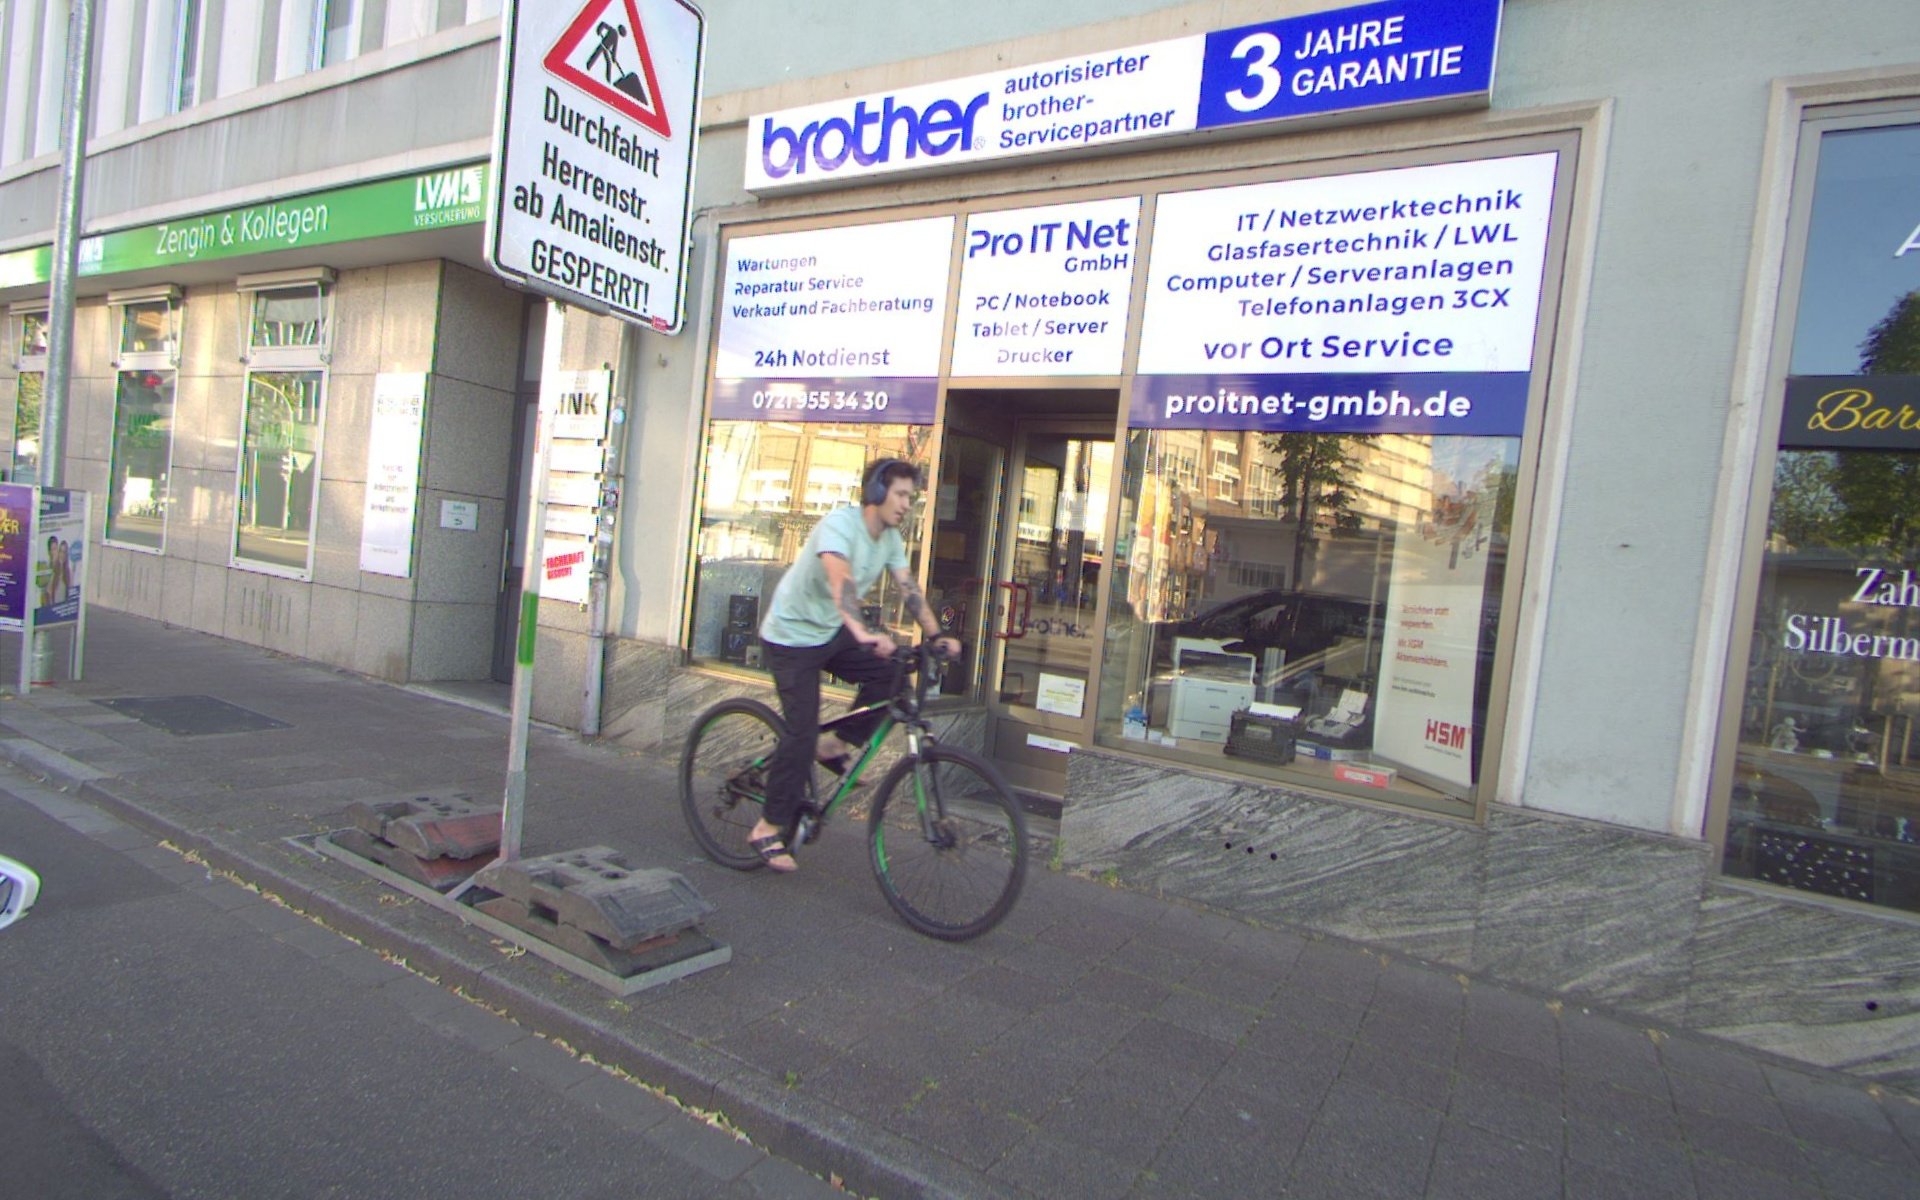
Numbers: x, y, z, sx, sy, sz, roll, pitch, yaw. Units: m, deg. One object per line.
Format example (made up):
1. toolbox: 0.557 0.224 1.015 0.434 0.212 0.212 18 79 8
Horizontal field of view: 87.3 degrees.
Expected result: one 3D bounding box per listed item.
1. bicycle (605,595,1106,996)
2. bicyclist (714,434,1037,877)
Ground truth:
1. bicycle: -0.472 0.653 4.039 1.864 1.121 0.690 7 2 31
2. bicyclist: -0.329 0.178 4.015 0.885 1.527 0.722 7 2 32
